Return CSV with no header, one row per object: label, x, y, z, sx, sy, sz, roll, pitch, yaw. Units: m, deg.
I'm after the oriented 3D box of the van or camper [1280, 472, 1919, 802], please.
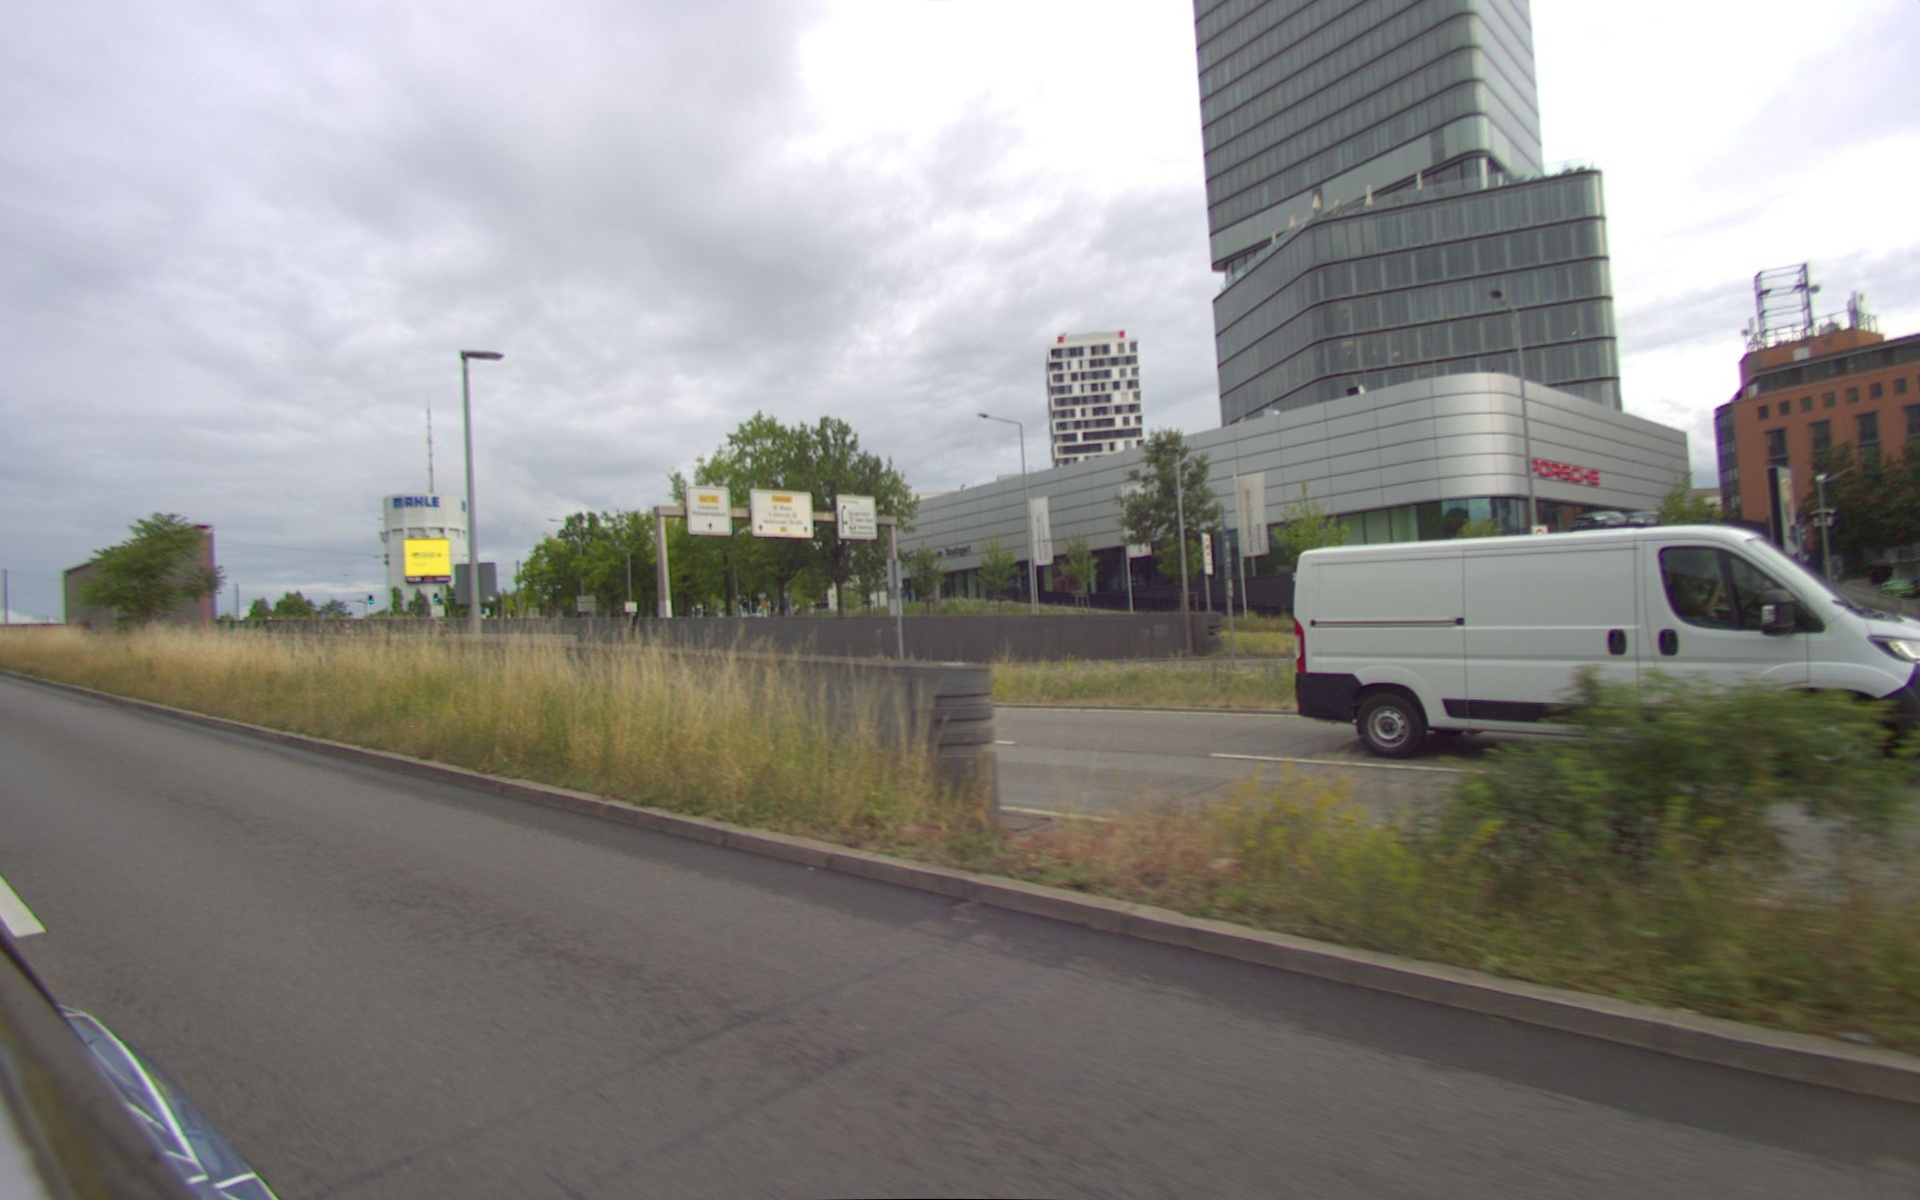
van or camper,6.252,0.326,9.882,5.531,2.457,2.179,-2,-1,43
